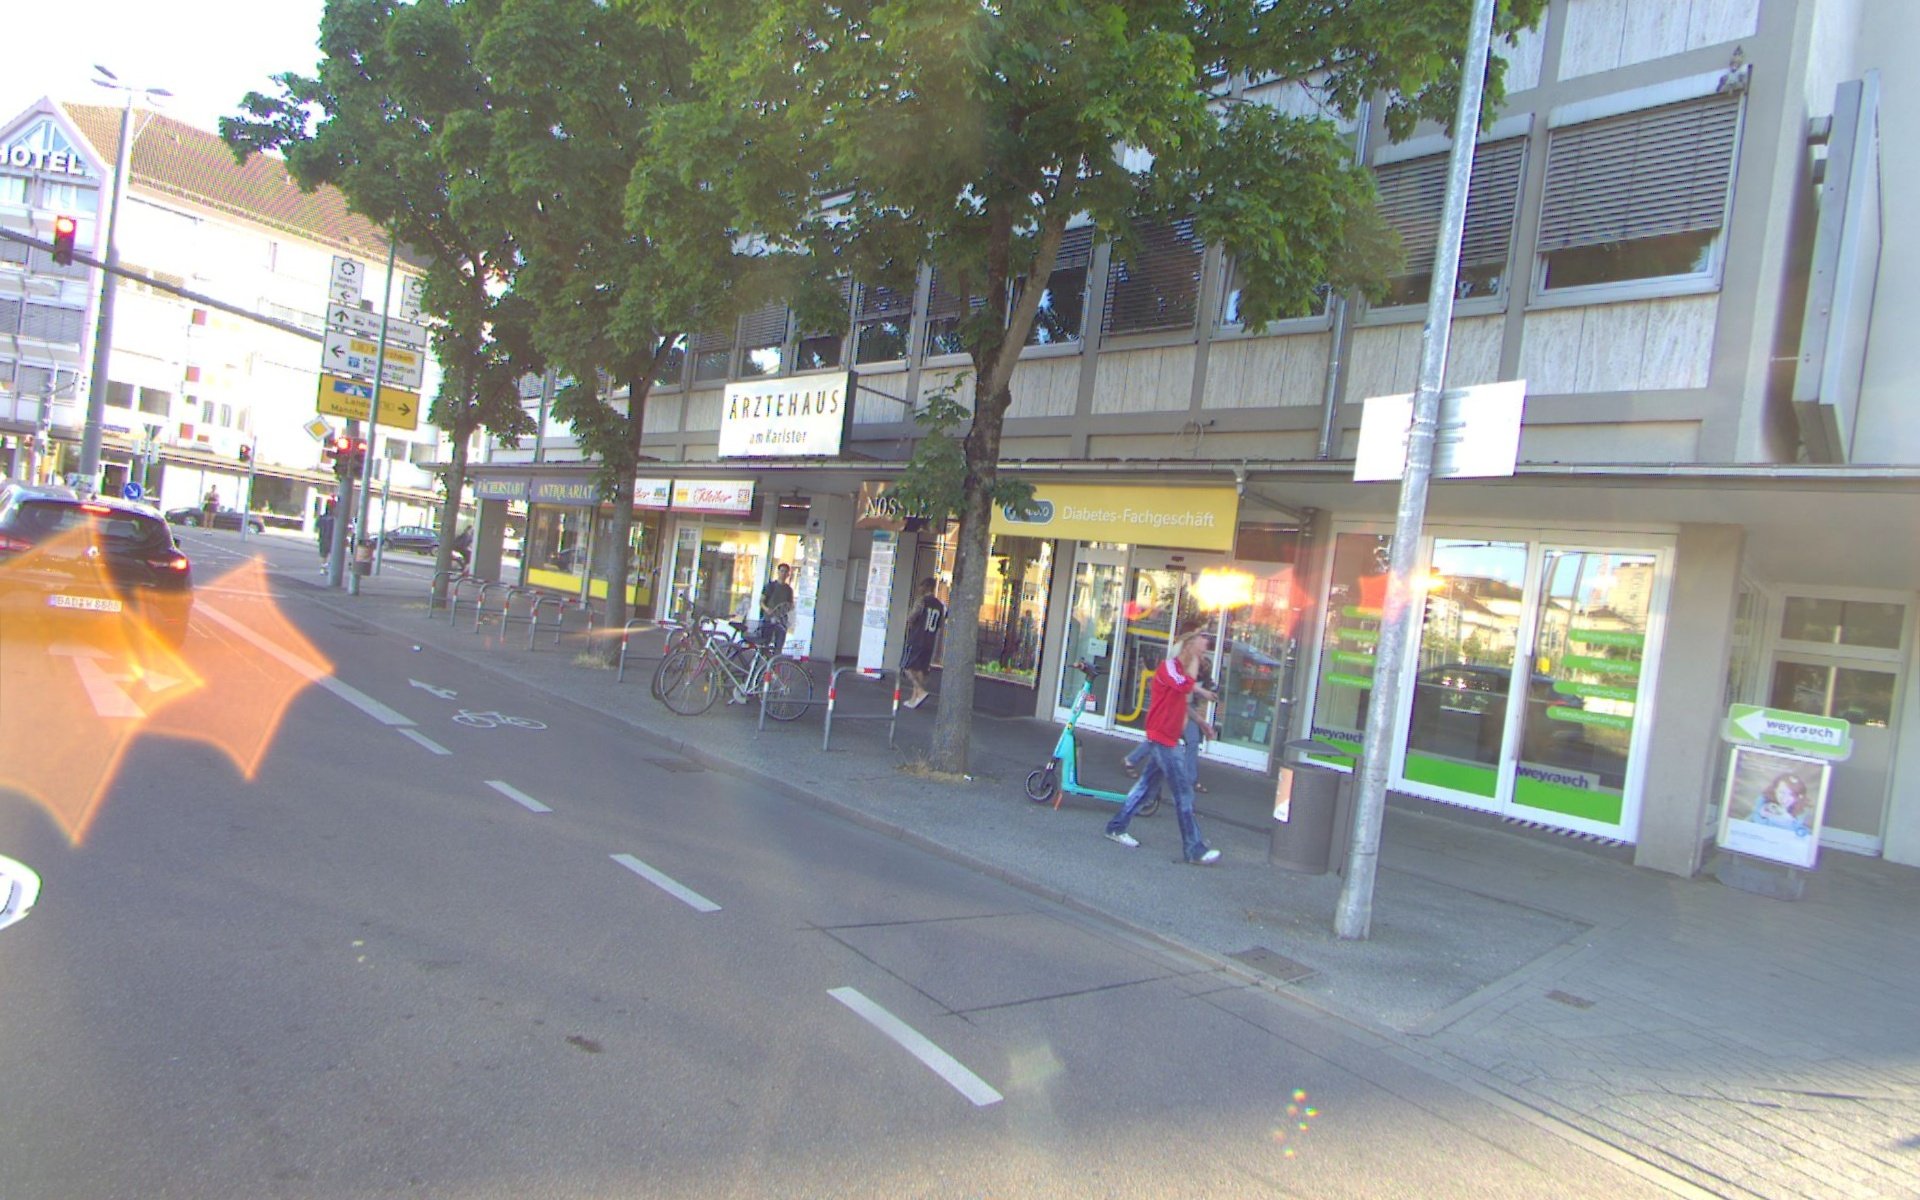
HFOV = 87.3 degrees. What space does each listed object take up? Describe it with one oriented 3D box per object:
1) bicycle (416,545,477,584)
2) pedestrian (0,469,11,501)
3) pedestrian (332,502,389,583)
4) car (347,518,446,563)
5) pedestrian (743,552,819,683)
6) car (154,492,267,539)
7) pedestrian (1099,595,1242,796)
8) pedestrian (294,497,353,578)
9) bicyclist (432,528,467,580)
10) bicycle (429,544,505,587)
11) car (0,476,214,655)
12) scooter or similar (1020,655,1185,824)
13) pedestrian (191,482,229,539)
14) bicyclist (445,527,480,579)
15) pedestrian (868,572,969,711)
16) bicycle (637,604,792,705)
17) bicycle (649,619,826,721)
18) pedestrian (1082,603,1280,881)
[{"bbox_3d":[-16.185,-1.108,31.739,0.348,1.040,1.611,8,0,36],"label":"bicycle"},{"bbox_3d":[-47.031,-5.664,49.258,0.466,1.522,0.494,8,1,6],"label":"pedestrian"},{"bbox_3d":[-14.901,-1.404,25.020,0.717,1.851,0.995,8,-1,-13],"label":"pedestrian"},{"bbox_3d":[-31.202,-3.287,55.807,1.972,1.715,4.232,8,-2,41],"label":"car"},{"bbox_3d":[-2.673,0.253,14.960,0.739,1.799,0.796,9,-1,-22],"label":"pedestrian"},{"bbox_3d":[-36.565,-4.107,49.158,1.972,1.493,3.985,8,-2,41],"label":"car"},{"bbox_3d":[2.098,0.935,10.023,0.957,1.799,0.747,8,-1,34],"label":"pedestrian"},{"bbox_3d":[-15.711,-1.515,24.842,0.717,1.851,0.995,8,-1,-13],"label":"pedestrian"},{"bbox_3d":[-16.097,-1.453,31.753,0.541,1.531,0.703,8,3,34],"label":"bicyclist"},{"bbox_3d":[-15.333,-1.049,31.332,0.411,1.040,2.036,8,-1,38],"label":"bicycle"},{"bbox_3d":[-9.492,-0.469,10.702,3.947,1.457,1.762,8,-1,44],"label":"car"},{"bbox_3d":[1.174,1.147,8.344,1.198,1.232,0.294,7,0,-1],"label":"scooter or similar"},{"bbox_3d":[-25.438,-3.042,34.131,0.745,1.799,0.790,9,-1,-44],"label":"pedestrian"},{"bbox_3d":[-15.410,-1.455,31.160,0.541,1.531,0.703,8,3,37],"label":"bicyclist"},{"bbox_3d":[-0.560,0.553,13.508,0.883,1.703,0.745,8,-1,45],"label":"pedestrian"},{"bbox_3d":[-2.845,0.656,11.765,1.652,0.985,0.382,10,-1,-40],"label":"bicycle"},{"bbox_3d":[-2.390,0.788,10.983,1.812,0.901,0.410,10,-1,-40],"label":"bicycle"},{"bbox_3d":[1.596,0.971,7.184,1.029,1.704,0.826,8,-1,23],"label":"pedestrian"}]
